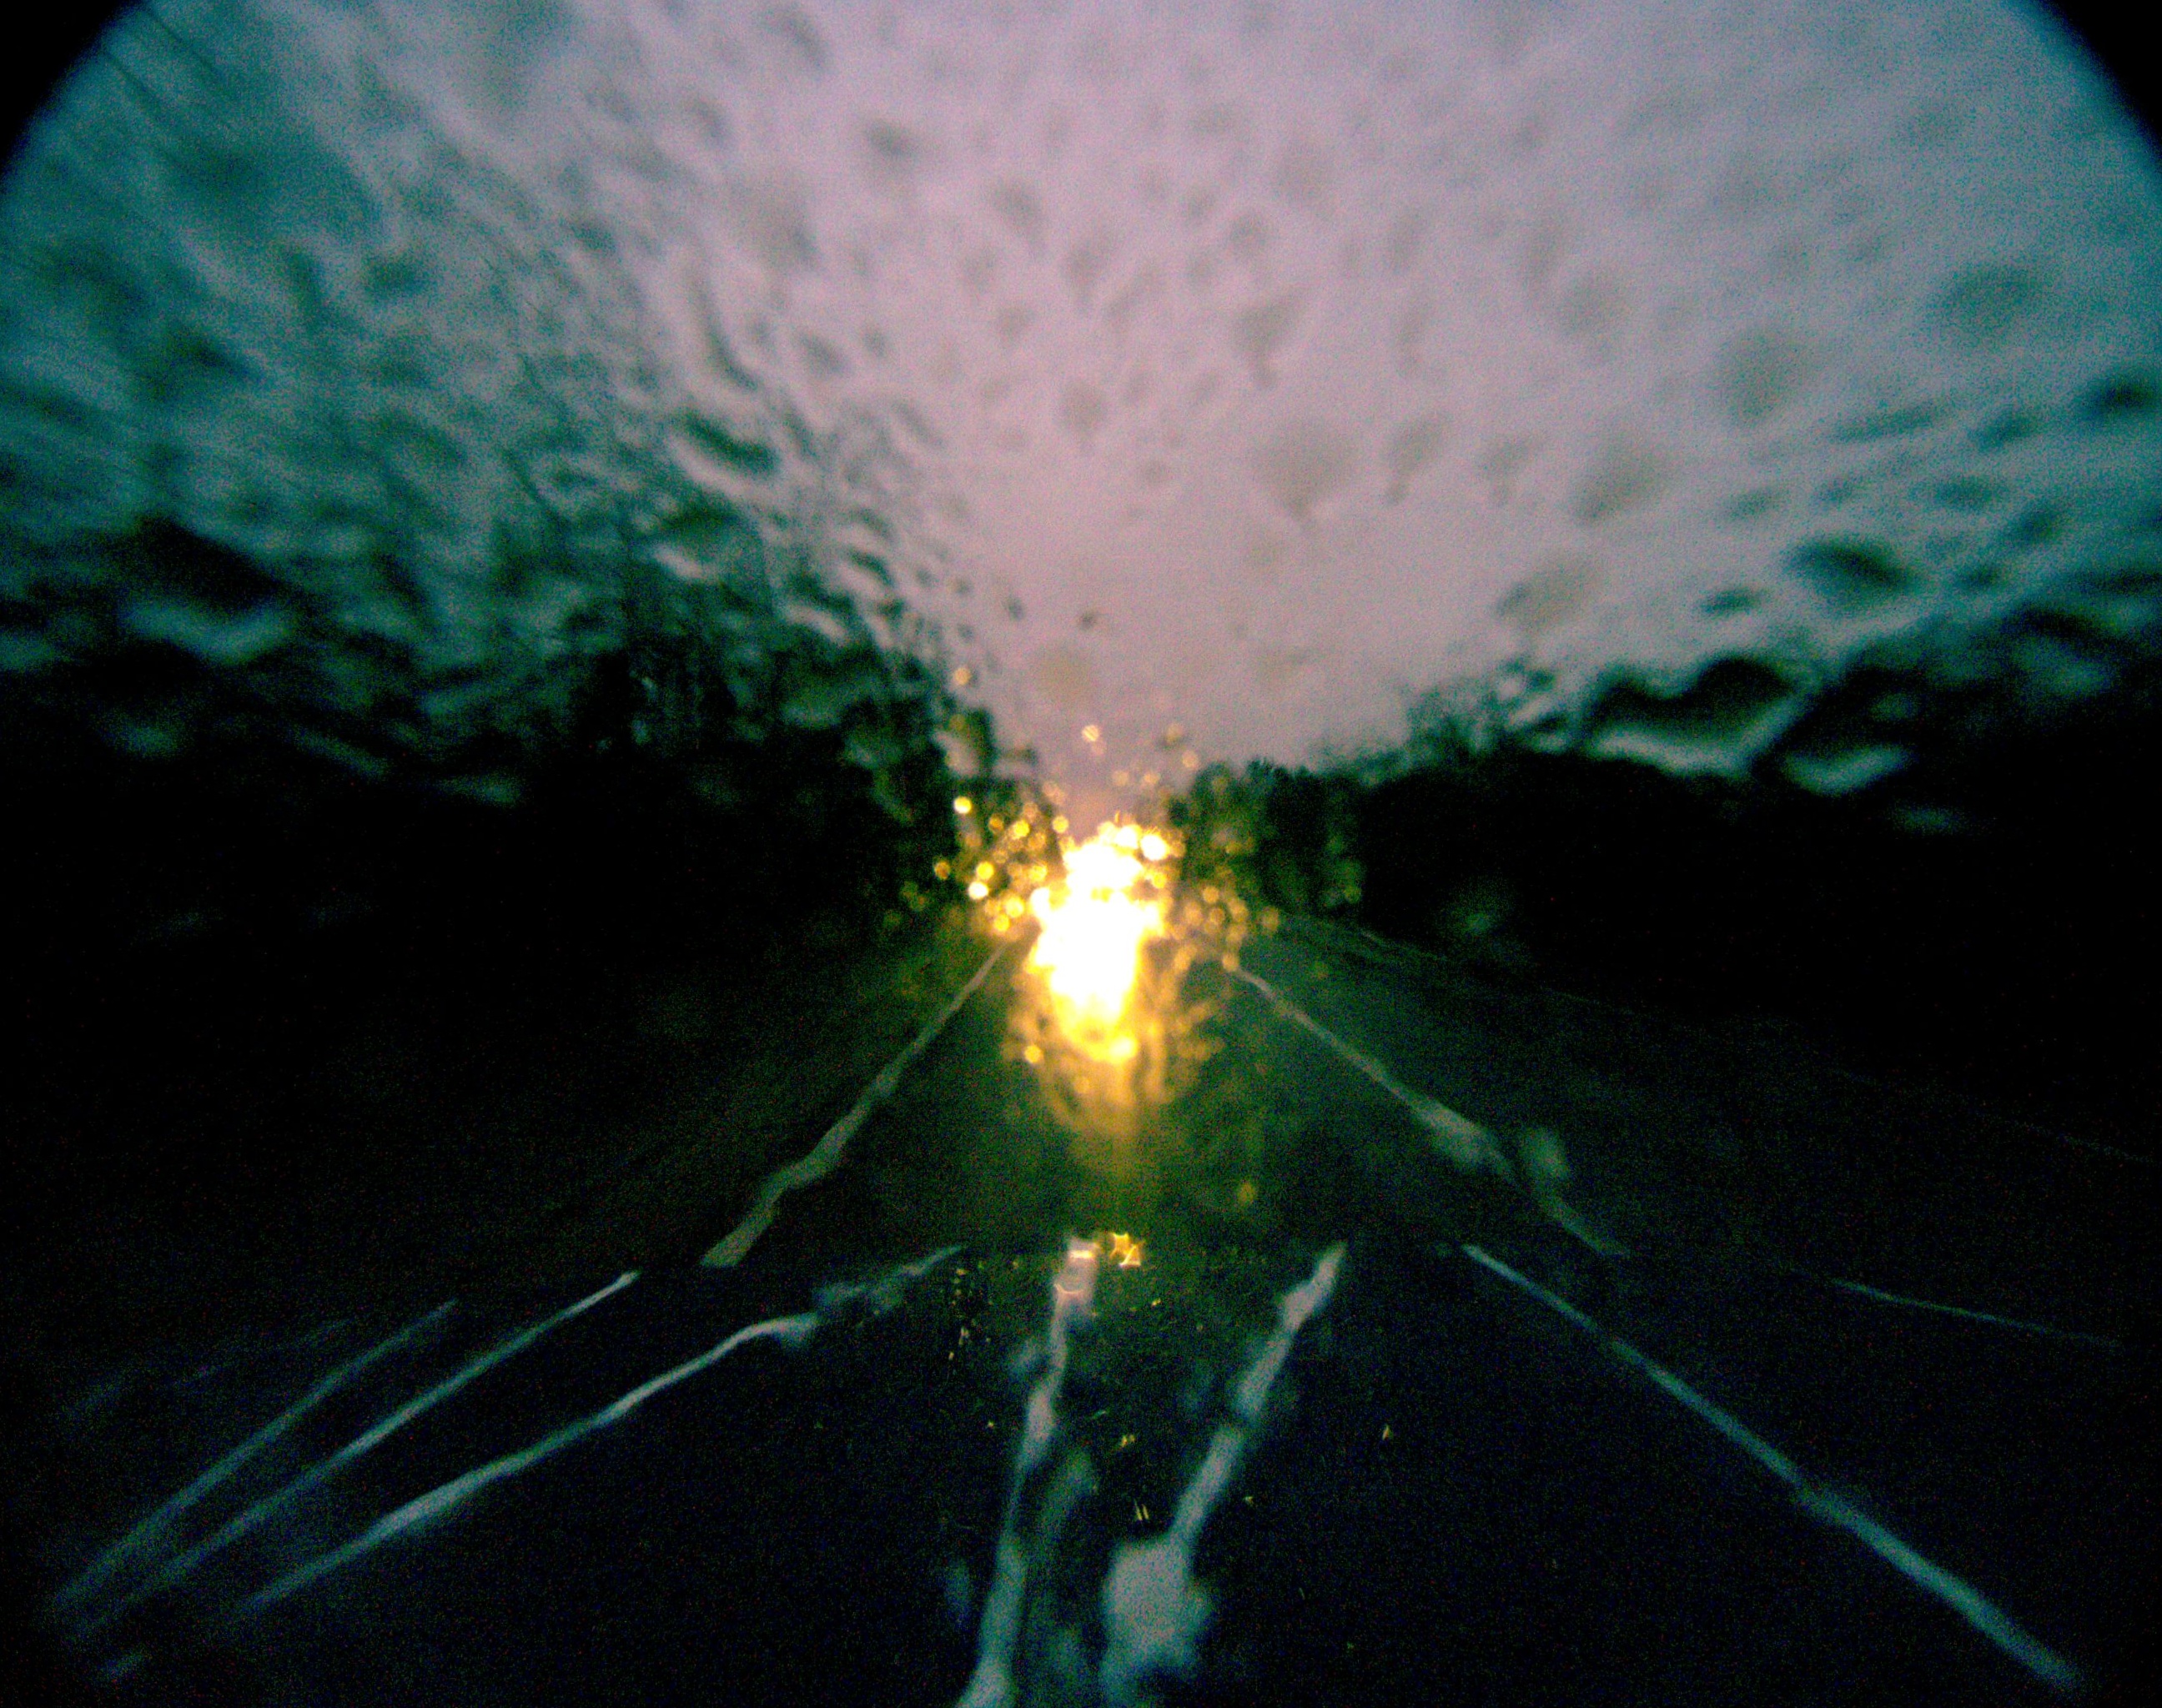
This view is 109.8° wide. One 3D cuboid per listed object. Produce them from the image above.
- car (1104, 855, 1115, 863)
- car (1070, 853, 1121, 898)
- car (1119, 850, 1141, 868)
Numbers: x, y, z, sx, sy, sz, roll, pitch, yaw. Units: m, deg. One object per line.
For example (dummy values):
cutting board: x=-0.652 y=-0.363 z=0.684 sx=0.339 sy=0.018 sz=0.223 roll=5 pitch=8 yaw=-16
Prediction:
car: x=5.398 y=0.864 z=143.371 sx=1.809 sy=1.478 sz=4.000 roll=1 pitch=0 yaw=0
car: x=0.564 y=0.801 z=30.058 sx=1.860 sy=1.604 sz=4.000 roll=-1 pitch=0 yaw=1
car: x=4.624 y=0.467 z=72.163 sx=1.771 sy=1.589 sz=3.999 roll=1 pitch=0 yaw=0
